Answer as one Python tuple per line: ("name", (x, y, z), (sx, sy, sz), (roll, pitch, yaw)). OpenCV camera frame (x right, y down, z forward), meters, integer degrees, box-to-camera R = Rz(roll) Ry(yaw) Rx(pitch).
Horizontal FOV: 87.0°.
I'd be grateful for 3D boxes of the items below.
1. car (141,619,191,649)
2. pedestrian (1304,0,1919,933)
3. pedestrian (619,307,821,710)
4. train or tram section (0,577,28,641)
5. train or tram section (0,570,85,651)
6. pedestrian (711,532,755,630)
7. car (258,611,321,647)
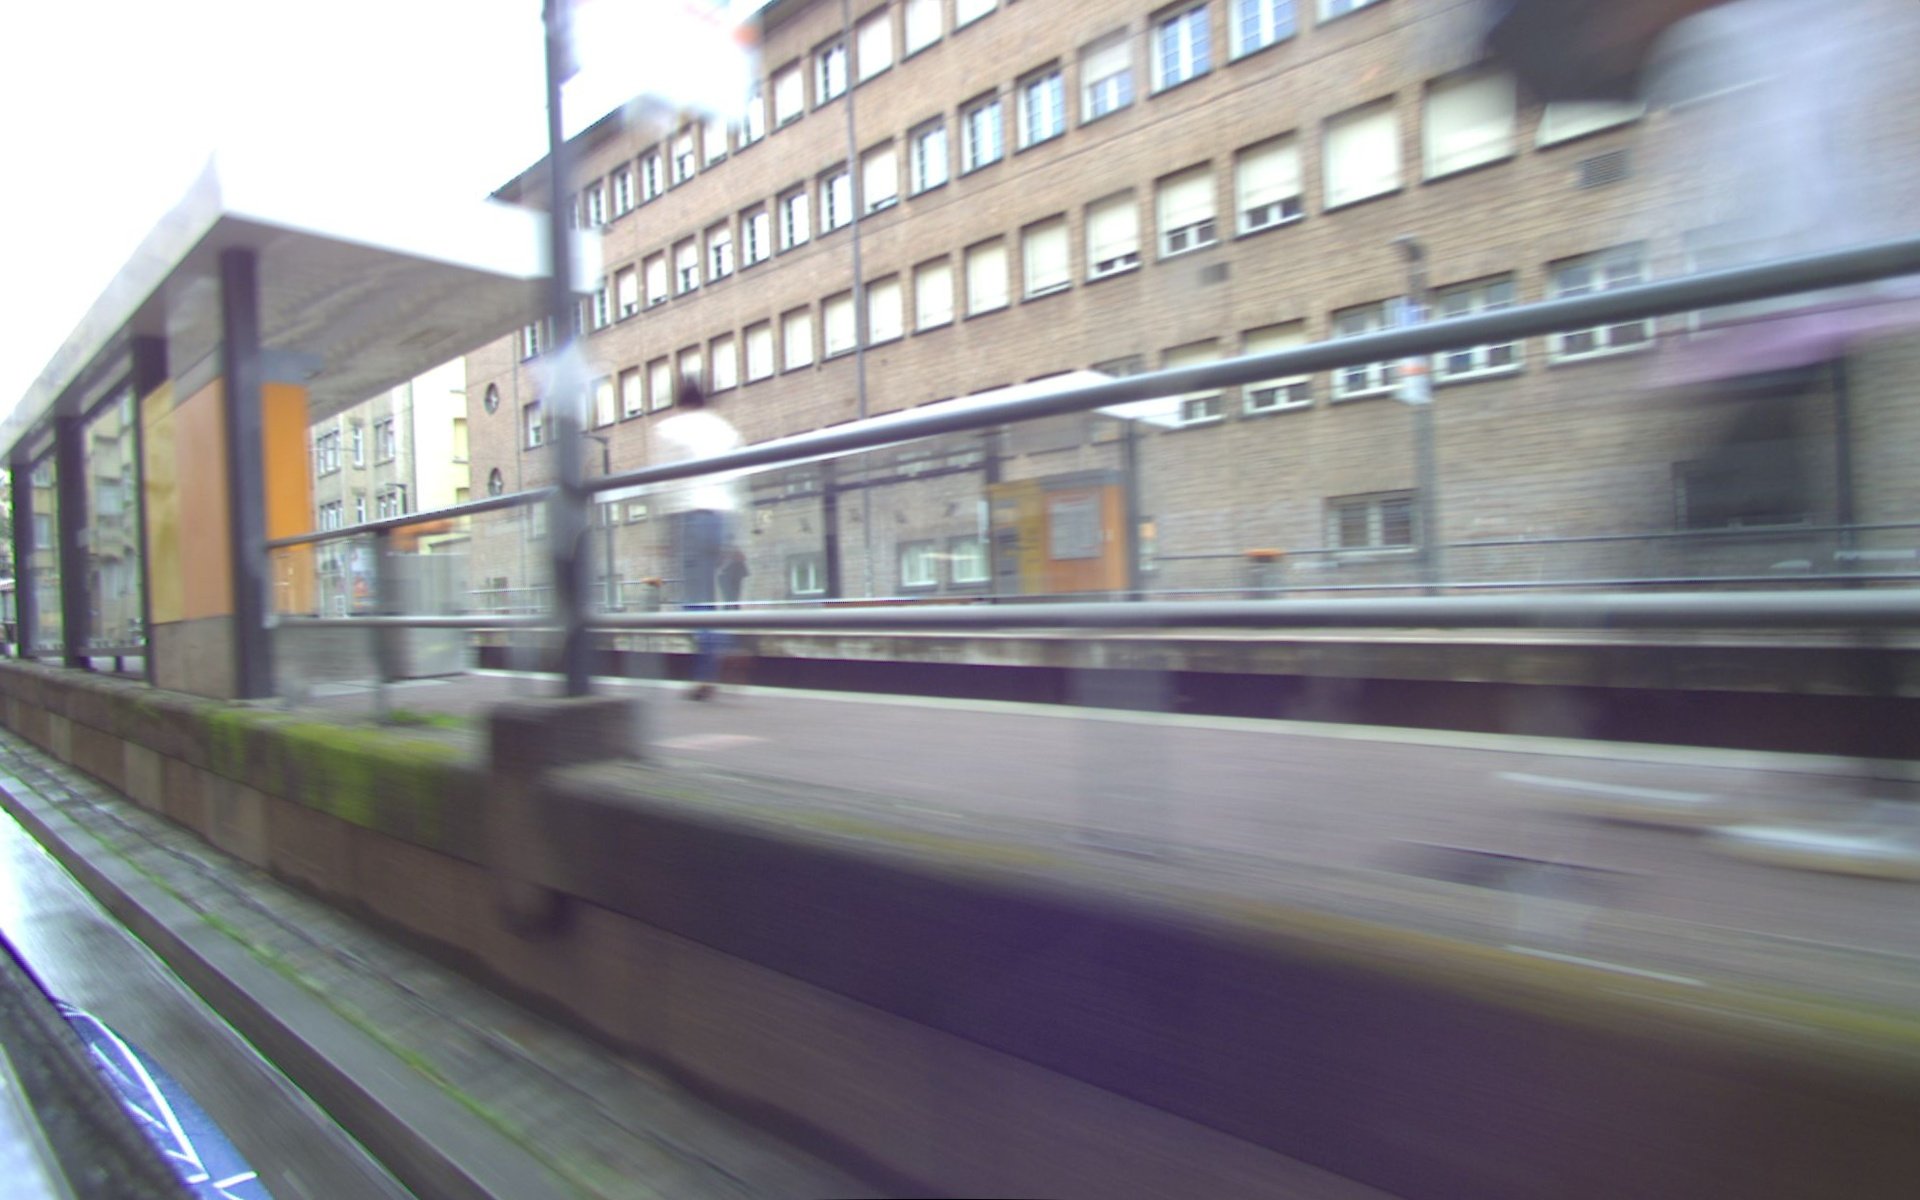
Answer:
("car", (-48.550, 2.051, 61.861), (4.096, 1.719, 1.627), (-1, 0, 41))
("pedestrian", (1.381, -0.489, 1.799), (1.111, 1.788, 1.102), (-1, 0, 41))
("pedestrian", (-1.177, -0.407, 4.968), (0.710, 1.788, 0.637), (-1, 0, 41))
("train or tram section", (-66.583, 0.653, 68.738), (19.287, 3.950, 2.687), (-1, 0, 41))
("train or tram section", (-52.539, 0.611, 56.559), (19.851, 3.950, 2.687), (-1, 0, 41))
("pedestrian", (-4.065, -0.322, 18.111), (0.491, 1.722, 0.581), (-2, -2, 40))
("car", (-29.571, 1.276, 44.587), (3.111, 1.477, 1.627), (-1, 0, 43))
